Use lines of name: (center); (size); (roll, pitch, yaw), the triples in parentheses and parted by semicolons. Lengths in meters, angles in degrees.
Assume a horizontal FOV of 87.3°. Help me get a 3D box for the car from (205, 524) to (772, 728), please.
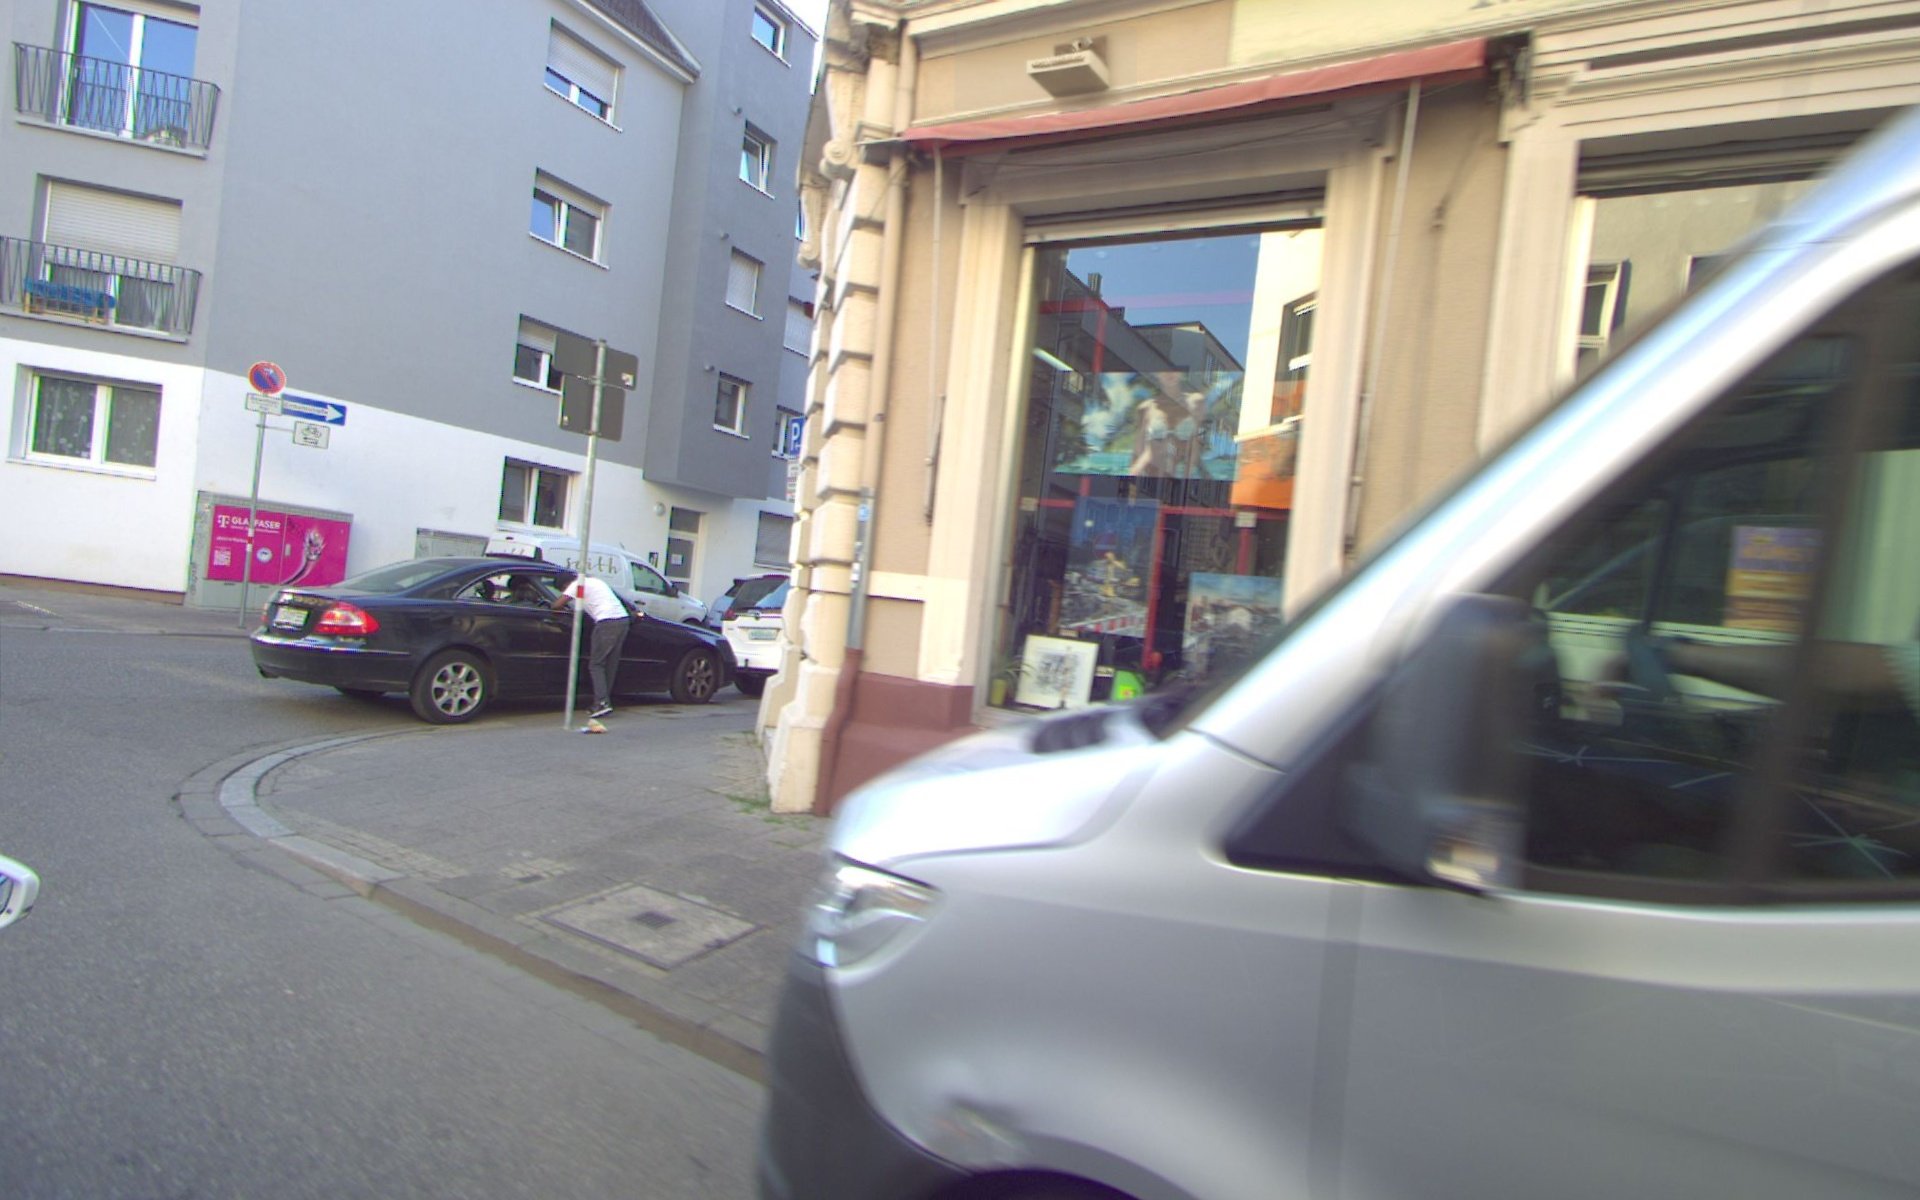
car: (-4.255, 0.324, 9.937); (1.860, 1.425, 4.717); (7, 0, 34)

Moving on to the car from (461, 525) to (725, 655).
car: (-6.288, -0.078, 17.724); (1.608, 1.836, 4.178); (7, 0, 30)

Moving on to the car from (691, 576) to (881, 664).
car: (-3.676, 0.487, 22.078); (1.738, 1.583, 4.360); (6, 0, 27)

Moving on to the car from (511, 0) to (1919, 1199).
car: (2.426, 0.462, 1.220); (6.101, 2.470, 2.279); (7, 0, 32)

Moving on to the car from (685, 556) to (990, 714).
car: (-1.512, 0.546, 14.222); (1.792, 1.745, 4.452); (7, 0, 31)
